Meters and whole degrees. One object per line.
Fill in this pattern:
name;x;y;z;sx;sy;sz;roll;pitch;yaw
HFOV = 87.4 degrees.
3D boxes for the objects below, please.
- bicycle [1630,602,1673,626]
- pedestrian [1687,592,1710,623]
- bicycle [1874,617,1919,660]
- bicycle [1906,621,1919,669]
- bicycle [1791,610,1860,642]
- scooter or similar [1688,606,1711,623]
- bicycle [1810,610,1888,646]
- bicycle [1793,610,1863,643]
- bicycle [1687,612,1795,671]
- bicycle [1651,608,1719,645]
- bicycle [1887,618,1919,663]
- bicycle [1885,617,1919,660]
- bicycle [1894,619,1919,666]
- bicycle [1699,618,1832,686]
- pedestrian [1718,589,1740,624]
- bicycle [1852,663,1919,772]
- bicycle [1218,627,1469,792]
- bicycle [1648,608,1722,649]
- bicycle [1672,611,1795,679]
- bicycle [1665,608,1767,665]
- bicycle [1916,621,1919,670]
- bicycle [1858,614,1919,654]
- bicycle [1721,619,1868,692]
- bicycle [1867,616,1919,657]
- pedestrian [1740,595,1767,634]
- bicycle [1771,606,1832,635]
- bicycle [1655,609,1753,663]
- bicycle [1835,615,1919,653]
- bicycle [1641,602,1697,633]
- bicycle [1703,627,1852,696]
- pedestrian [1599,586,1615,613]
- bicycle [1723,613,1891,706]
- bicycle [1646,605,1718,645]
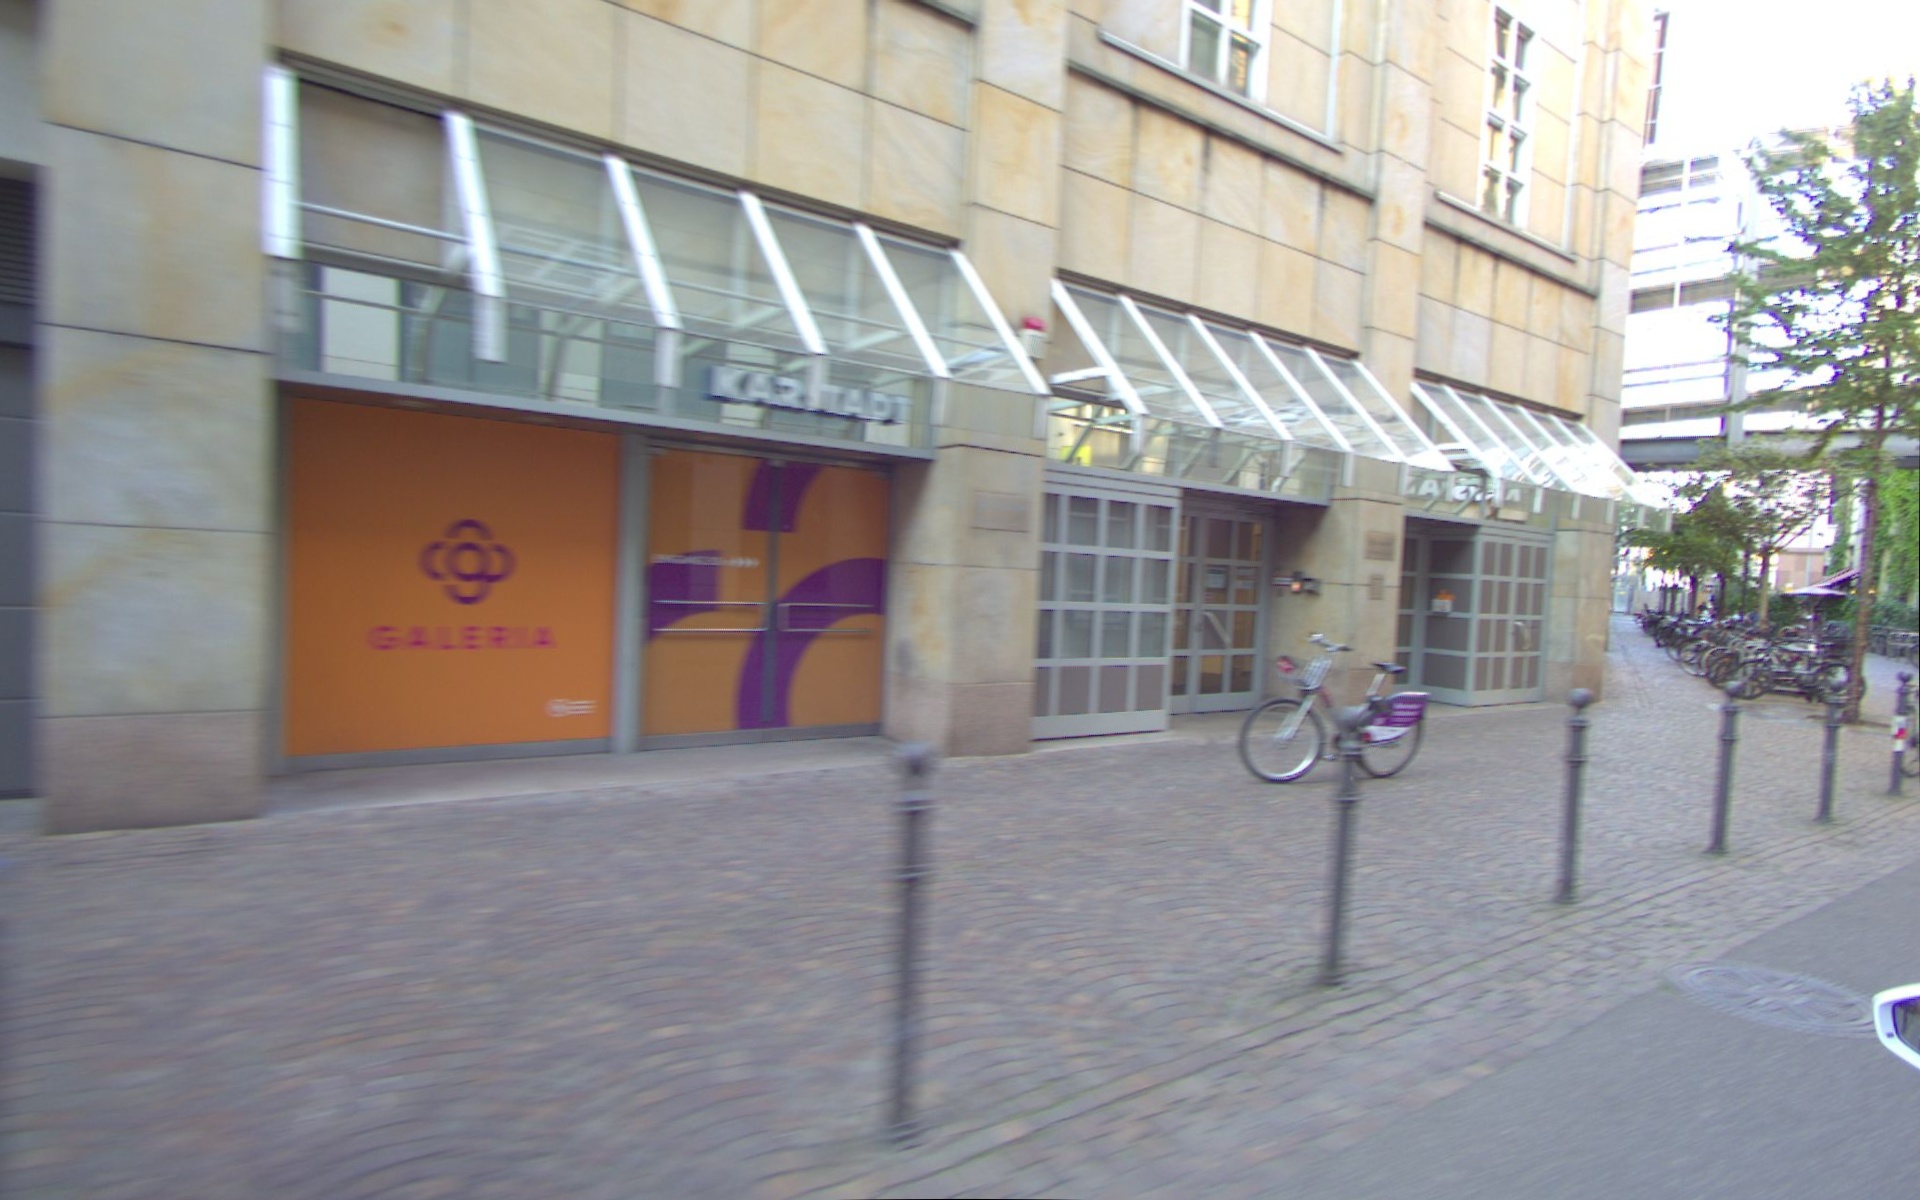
bicycle;38.176;0.764;55.443;1.889;1.198;0.693;4;2;38
pedestrian;40.130;0.403;54.609;0.879;1.661;0.909;3;2;33
bicycle;28.094;1.128;29.347;1.968;1.198;0.691;1;1;36
bicycle;25.415;1.168;25.459;1.968;1.198;0.800;1;1;36
bicycle;34.276;1.002;39.810;1.968;1.198;0.691;1;1;36
scooter or similar;39.627;0.768;53.834;0.879;0.854;0.909;3;2;33
bicycle;31.534;0.995;35.664;1.968;1.198;0.691;1;1;36
bicycle;33.783;1.016;39.113;1.968;1.198;0.691;1;1;36
bicycle;17.978;0.929;23.164;1.889;1.198;0.693;4;2;38
bicycle;25.854;0.937;35.833;1.889;1.198;0.693;4;2;38
bicycle;26.984;1.140;27.696;1.968;1.198;0.800;1;1;36
bicycle;27.628;1.102;28.483;1.968;1.198;0.691;1;1;36
bicycle;26.067;1.148;26.489;1.968;1.198;0.800;1;1;36
bicycle;15.262;0.962;19.095;1.889;1.116;0.693;4;2;38
pedestrian;40.547;0.341;52.960;0.754;1.828;0.775;3;2;33
bicycle;9.692;1.141;9.971;1.669;0.979;0.504;1;2;-21
bicycle;2.935;0.802;7.702;1.750;1.127;0.692;1;2;-21
bicycle;23.616;0.927;32.724;1.889;1.198;0.693;4;2;38
bicycle;15.550;0.882;20.246;1.889;1.198;0.693;4;2;38
bicycle;18.169;0.855;24.177;1.889;1.198;0.693;4;2;38
bicycle;24.902;1.156;24.667;1.968;1.198;0.693;1;1;36
bicycle;29.453;1.060;31.403;1.968;1.198;0.691;1;1;36
bicycle;14.727;0.953;17.802;1.887;1.116;0.693;3;2;35
bicycle;28.845;1.103;30.413;1.968;1.198;0.691;1;1;36
pedestrian;32.285;0.579;40.862;0.737;1.530;0.636;3;2;33
bicycle;36.804;0.903;43.970;1.968;1.198;0.691;1;1;36
bicycle;18.681;0.887;25.249;1.889;1.198;0.693;4;2;38
bicycle;30.707;1.117;33.671;1.968;1.198;0.691;1;1;36
bicycle;30.359;0.752;43.014;1.889;1.198;0.693;4;2;38
bicycle;13.987;1.030;17.271;1.887;1.007;0.693;3;2;35
pedestrian;45.200;-0.055;70.187;0.763;1.828;0.633;3;2;28
bicycle;13.279;0.893;15.836;1.887;1.278;0.806;3;2;35
bicycle;24.061;0.822;33.487;1.889;1.198;0.693;4;2;38
